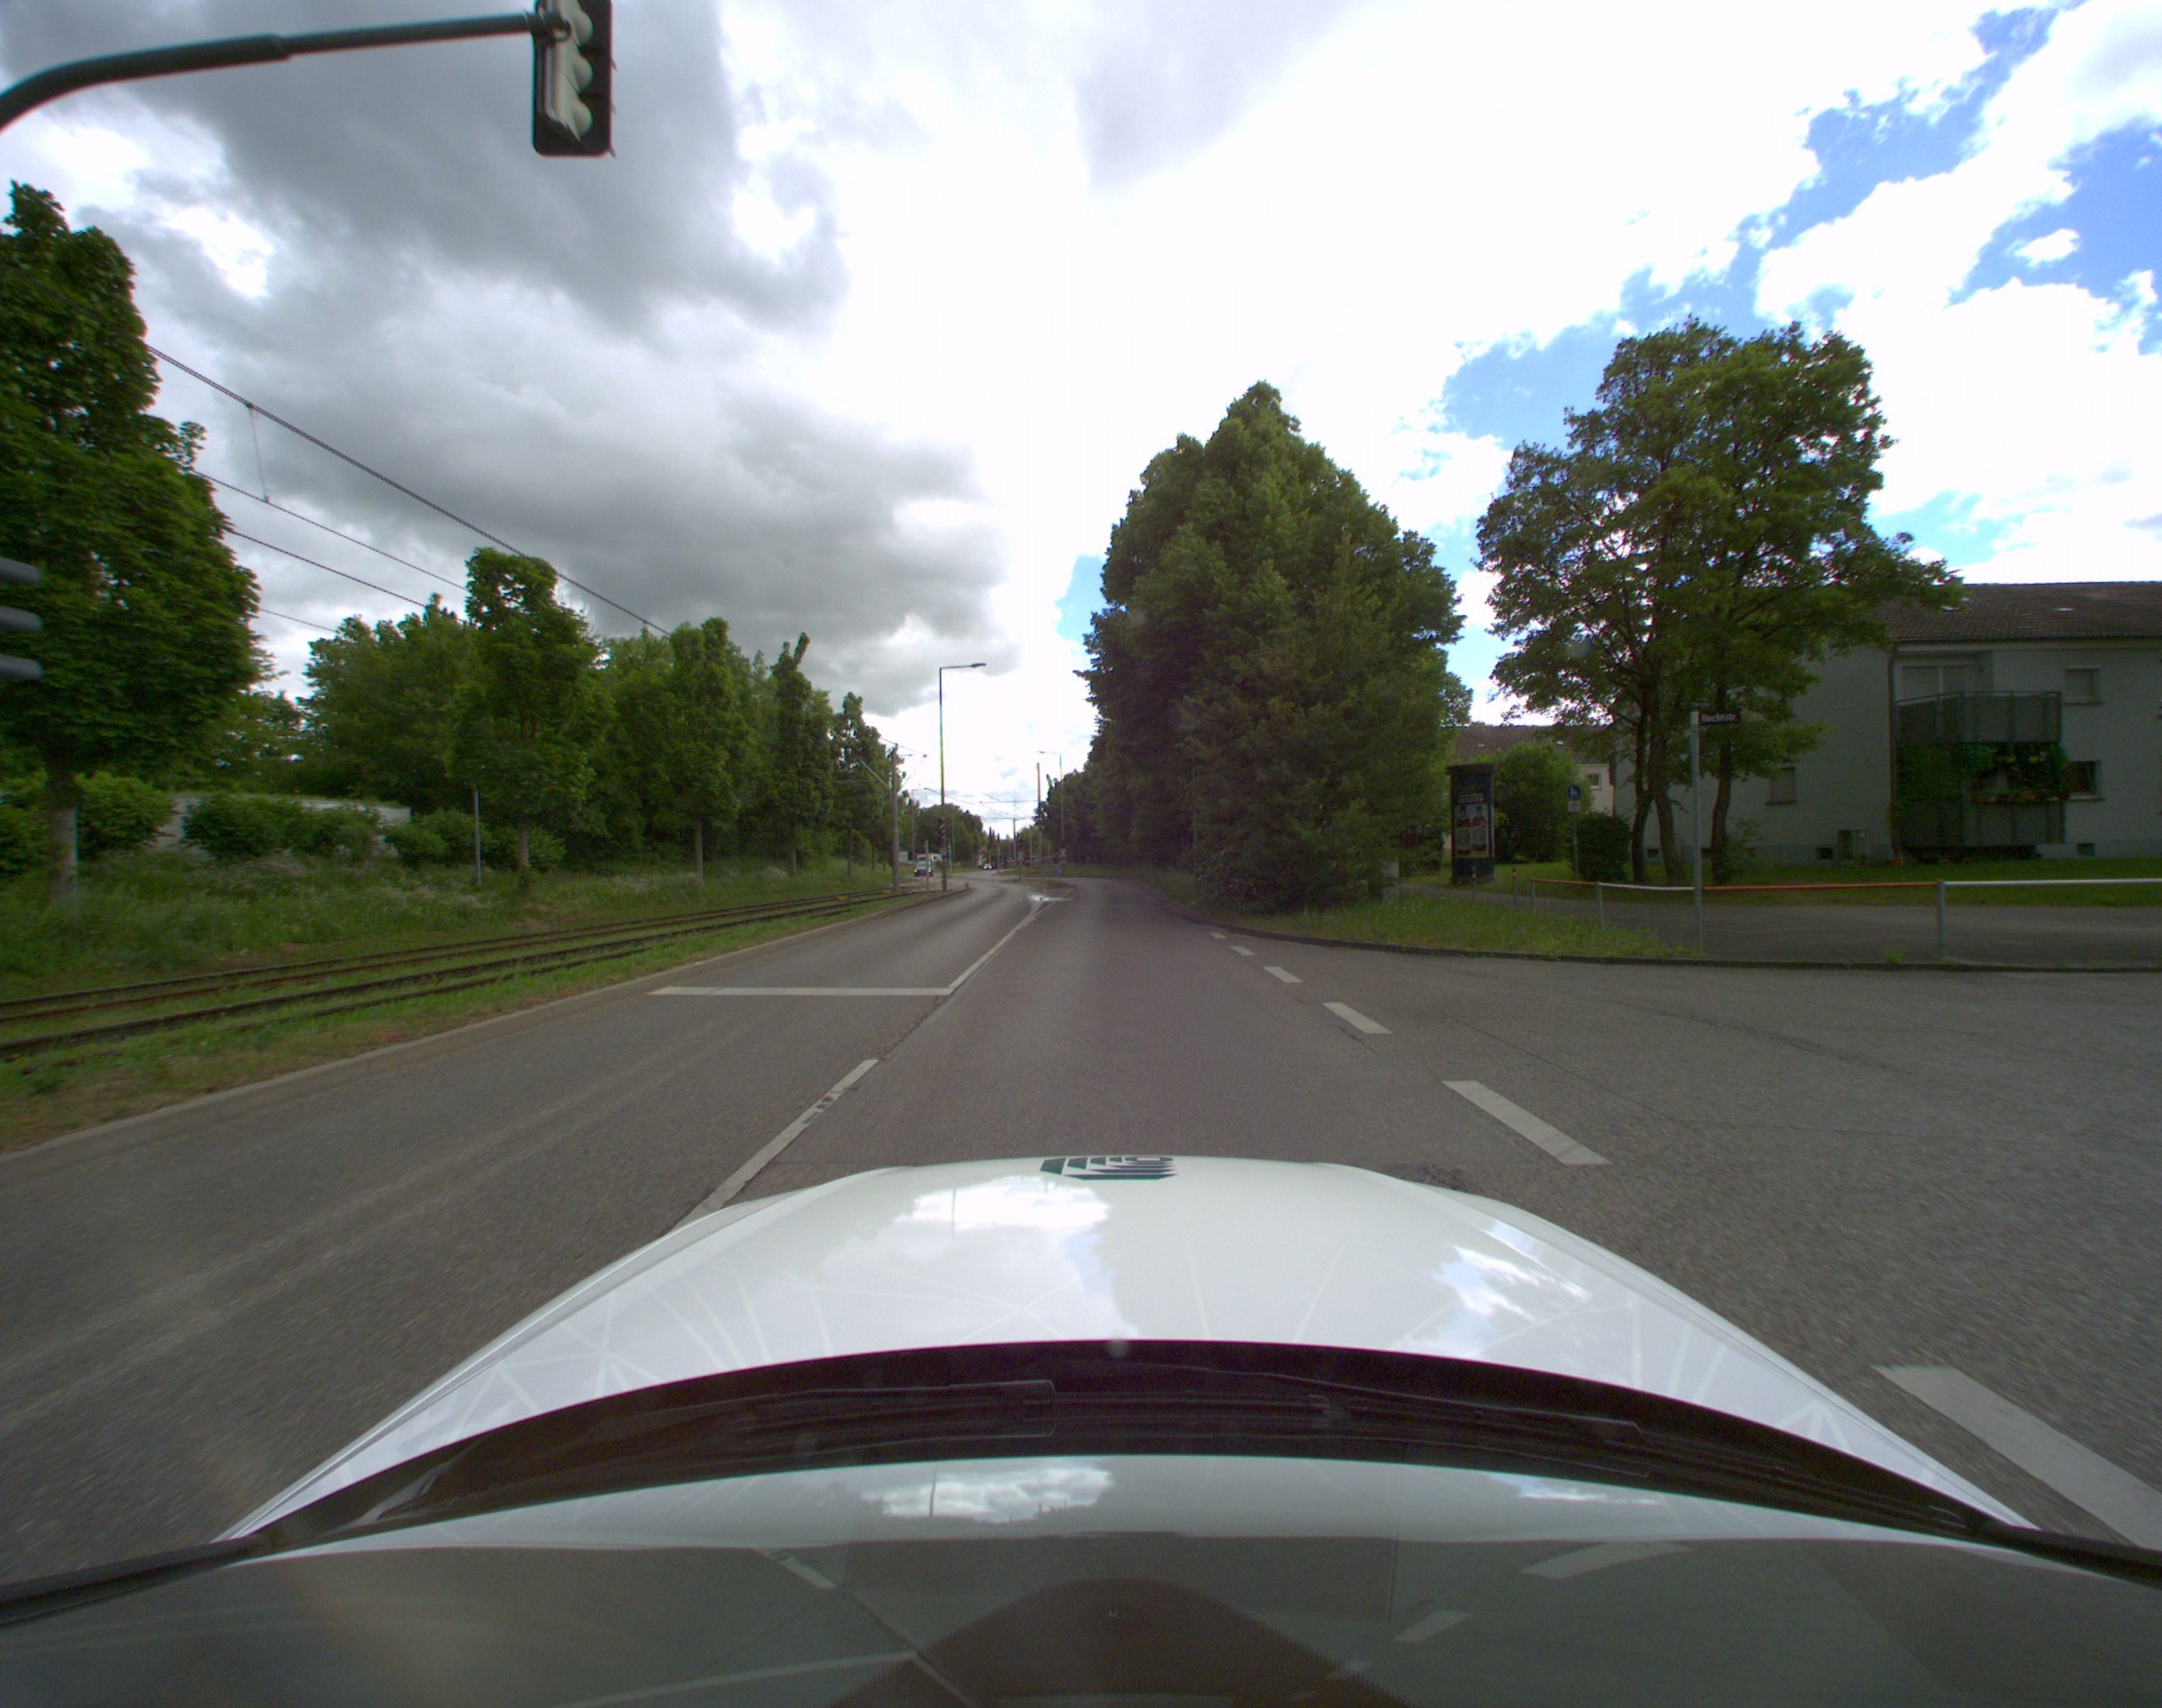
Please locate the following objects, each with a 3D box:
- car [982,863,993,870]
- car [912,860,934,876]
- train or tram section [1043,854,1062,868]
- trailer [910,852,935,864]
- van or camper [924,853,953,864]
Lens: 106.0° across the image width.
[{"bbox_3d":[-22.149,2.970,193.567,1.986,1.438,4.427,-2,0,1],"label":"car"},{"bbox_3d":[-16.824,1.456,86.806,1.865,1.521,4.230,0,0,-6],"label":"car"},{"bbox_3d":[-7.775,1.906,217.884,3.003,3.311,34.642,0,0,-5],"label":"train or tram section"},{"bbox_3d":[-27.837,0.635,143.122,3.974,2.014,1.908,-1,0,0],"label":"trailer"},{"bbox_3d":[-27.629,0.857,157.563,5.321,2.203,1.998,0,0,-3],"label":"van or camper"}]
